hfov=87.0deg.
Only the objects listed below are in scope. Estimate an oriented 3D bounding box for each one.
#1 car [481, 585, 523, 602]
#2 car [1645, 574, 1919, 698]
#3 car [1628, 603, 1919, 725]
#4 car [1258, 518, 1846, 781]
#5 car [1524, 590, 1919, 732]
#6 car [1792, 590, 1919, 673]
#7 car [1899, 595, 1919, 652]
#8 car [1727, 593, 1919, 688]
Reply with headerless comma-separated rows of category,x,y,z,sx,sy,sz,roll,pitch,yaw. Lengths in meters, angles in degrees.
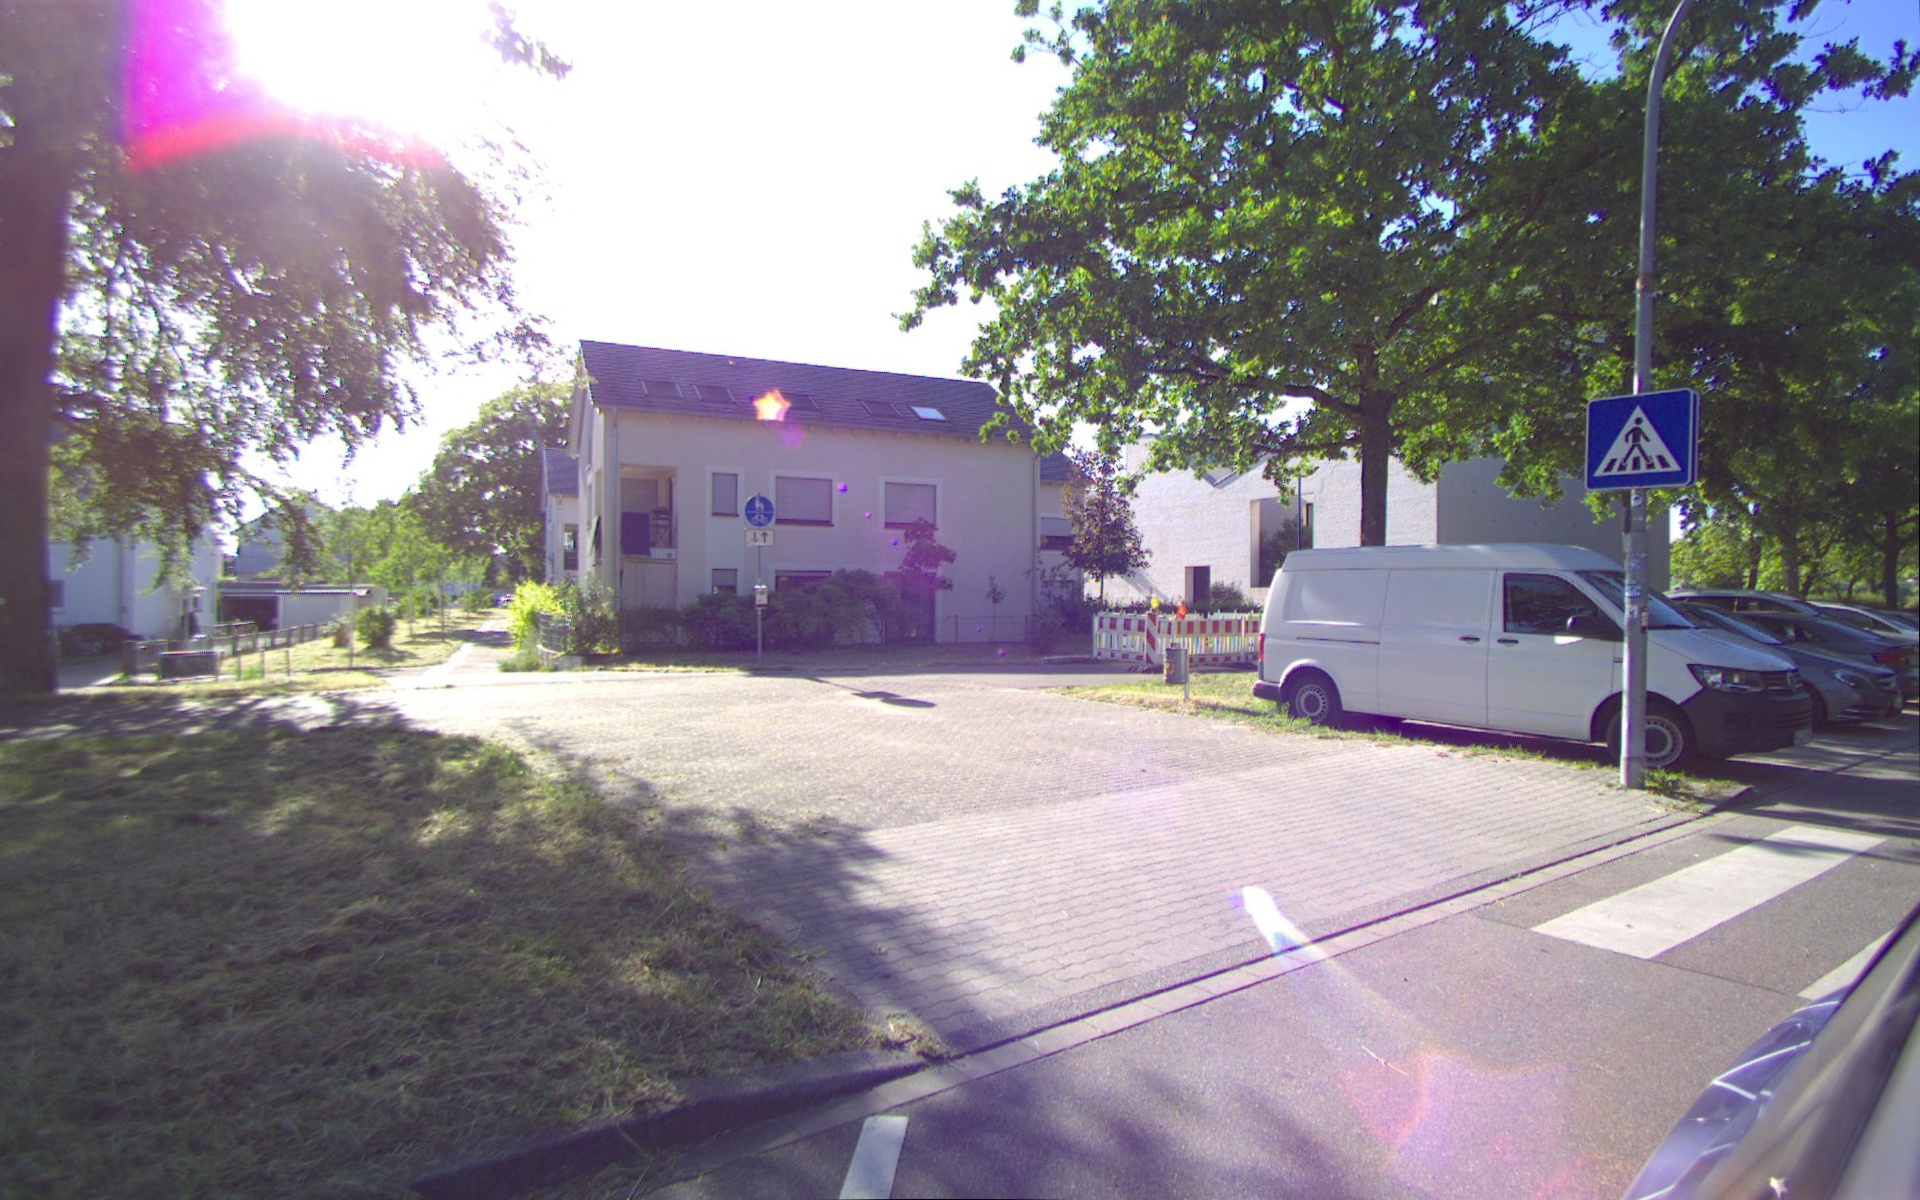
car,-58.765,-0.819,129.879,4.538,2.039,1.997,0,-1,-40
car,13.881,0.534,16.609,1.679,1.816,4.023,0,-1,-33
car,12.064,0.835,14.836,1.420,1.562,3.519,0,-1,-33
car,5.816,0.355,10.690,1.855,2.107,5.049,0,1,-35
car,9.959,0.687,13.406,1.723,1.583,4.001,0,-1,-33
car,19.966,0.634,20.898,1.503,1.681,4.023,0,-1,-33
car,29.338,0.672,28.228,1.503,1.662,4.400,0,-1,-33
car,17.407,0.737,19.423,1.503,1.700,4.023,0,-1,-33
